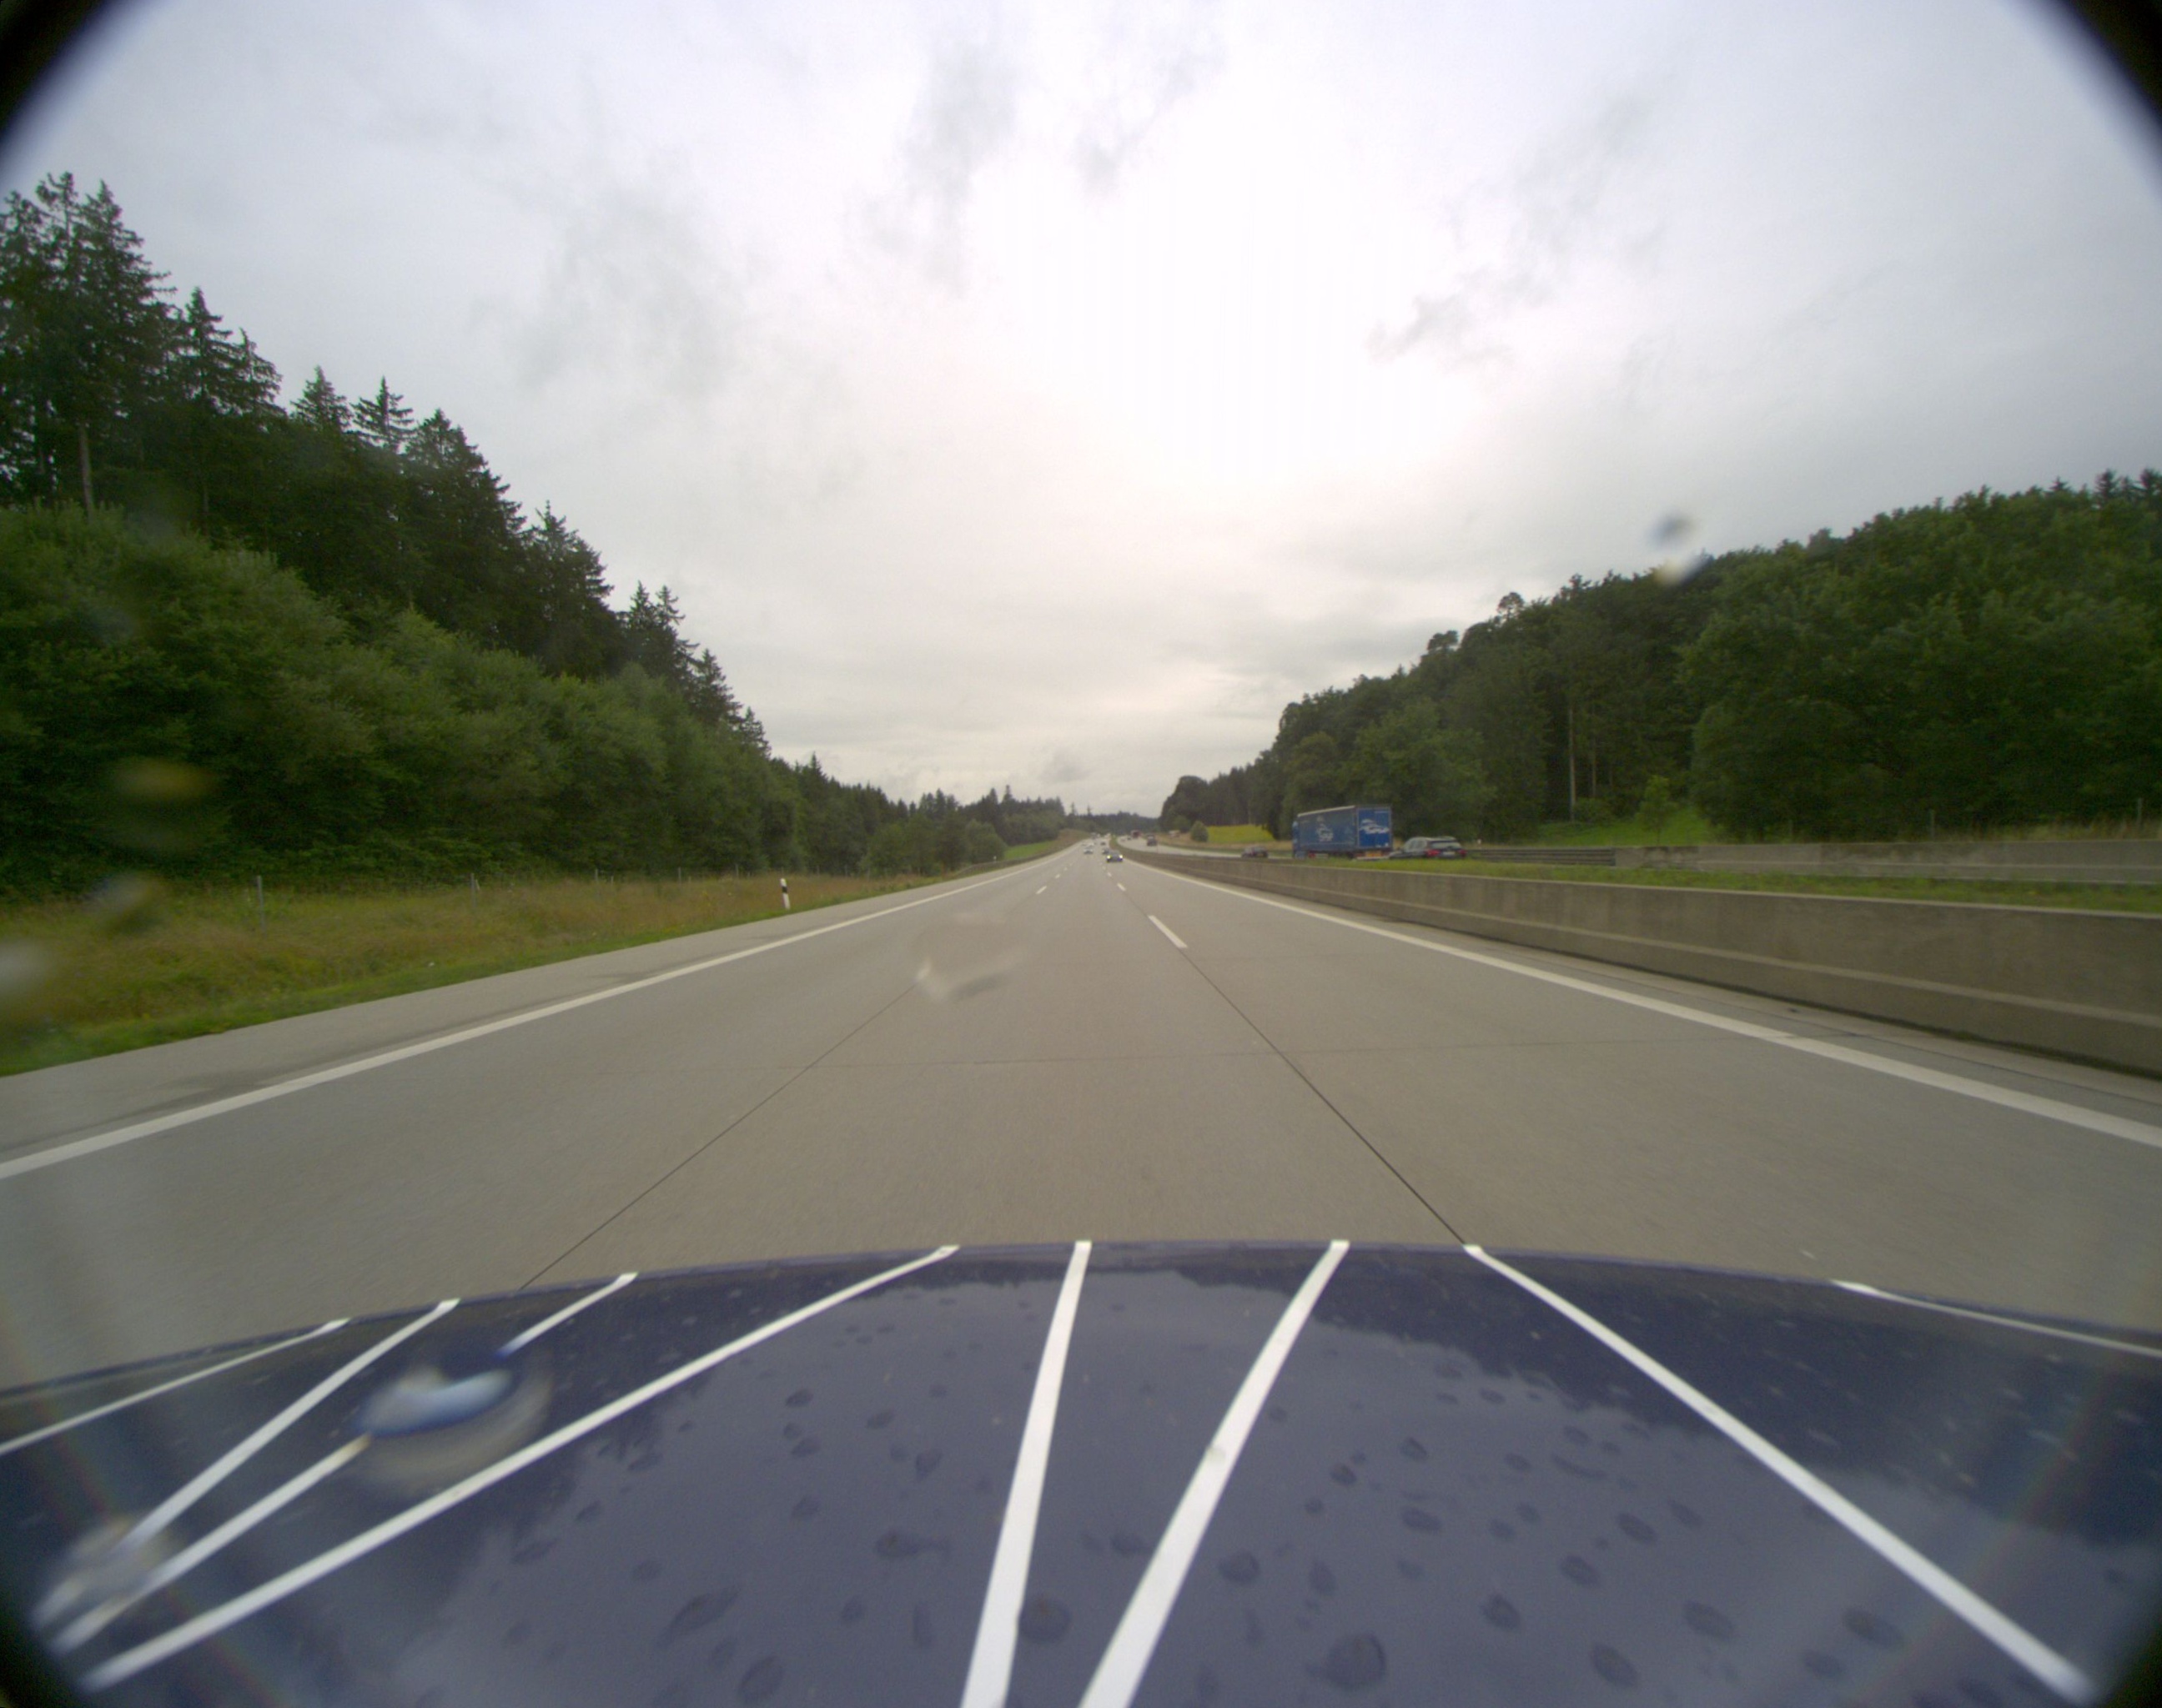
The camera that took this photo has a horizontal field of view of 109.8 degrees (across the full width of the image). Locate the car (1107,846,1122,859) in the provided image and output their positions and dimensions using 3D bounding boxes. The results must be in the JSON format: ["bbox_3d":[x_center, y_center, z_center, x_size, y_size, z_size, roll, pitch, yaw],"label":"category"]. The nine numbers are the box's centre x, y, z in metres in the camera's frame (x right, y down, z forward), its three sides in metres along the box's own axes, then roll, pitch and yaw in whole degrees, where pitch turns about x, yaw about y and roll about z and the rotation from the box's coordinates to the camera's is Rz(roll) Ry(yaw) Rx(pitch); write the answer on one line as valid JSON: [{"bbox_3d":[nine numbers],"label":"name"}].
[{"bbox_3d":[4.141,-0.229,93.846,1.766,1.455,4.000,-2,0,3],"label":"car"}]

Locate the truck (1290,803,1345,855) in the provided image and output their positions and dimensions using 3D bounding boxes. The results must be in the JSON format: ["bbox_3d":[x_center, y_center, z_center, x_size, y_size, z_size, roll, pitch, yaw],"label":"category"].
[{"bbox_3d":[20.153,-2.107,65.055,2.698,4.165,6.210,-3,1,1],"label":"truck"}]

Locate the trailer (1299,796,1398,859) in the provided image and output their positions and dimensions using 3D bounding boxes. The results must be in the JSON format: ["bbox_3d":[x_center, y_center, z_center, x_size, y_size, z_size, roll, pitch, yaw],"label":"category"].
[{"bbox_3d":[20.068,-1.977,58.286,2.717,4.185,13.789,-3,2,1],"label":"trailer"}]

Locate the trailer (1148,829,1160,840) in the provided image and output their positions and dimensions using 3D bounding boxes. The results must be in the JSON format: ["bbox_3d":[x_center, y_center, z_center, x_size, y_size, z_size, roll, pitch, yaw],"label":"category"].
[{"bbox_3d":[23.783,-6.410,249.015,2.792,3.488,13.881,-3,2,1],"label":"trailer"}]

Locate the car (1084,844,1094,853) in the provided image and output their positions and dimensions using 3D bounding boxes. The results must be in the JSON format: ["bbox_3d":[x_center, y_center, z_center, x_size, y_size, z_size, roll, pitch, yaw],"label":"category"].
[{"bbox_3d":[1.829,-1.278,170.989,2.213,2.002,4.833,-3,1,1],"label":"car"}]

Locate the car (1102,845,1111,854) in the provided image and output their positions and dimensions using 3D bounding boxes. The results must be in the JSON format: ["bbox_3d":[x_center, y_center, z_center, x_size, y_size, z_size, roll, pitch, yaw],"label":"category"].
[{"bbox_3d":[5.207,-0.881,157.369,1.773,1.783,4.000,-2,0,0],"label":"car"}]

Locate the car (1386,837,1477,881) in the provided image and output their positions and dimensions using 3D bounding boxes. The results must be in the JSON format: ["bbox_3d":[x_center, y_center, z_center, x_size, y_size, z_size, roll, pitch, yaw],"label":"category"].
[{"bbox_3d":[15.541,0.188,34.015,1.821,1.757,4.731,-3,1,0],"label":"car"}]

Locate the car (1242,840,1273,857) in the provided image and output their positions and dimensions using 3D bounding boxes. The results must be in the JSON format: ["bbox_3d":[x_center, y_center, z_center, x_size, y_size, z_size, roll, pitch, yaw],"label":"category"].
[{"bbox_3d":[16.095,-0.495,69.389,1.641,1.491,4.518,-3,0,-1],"label":"car"}]
